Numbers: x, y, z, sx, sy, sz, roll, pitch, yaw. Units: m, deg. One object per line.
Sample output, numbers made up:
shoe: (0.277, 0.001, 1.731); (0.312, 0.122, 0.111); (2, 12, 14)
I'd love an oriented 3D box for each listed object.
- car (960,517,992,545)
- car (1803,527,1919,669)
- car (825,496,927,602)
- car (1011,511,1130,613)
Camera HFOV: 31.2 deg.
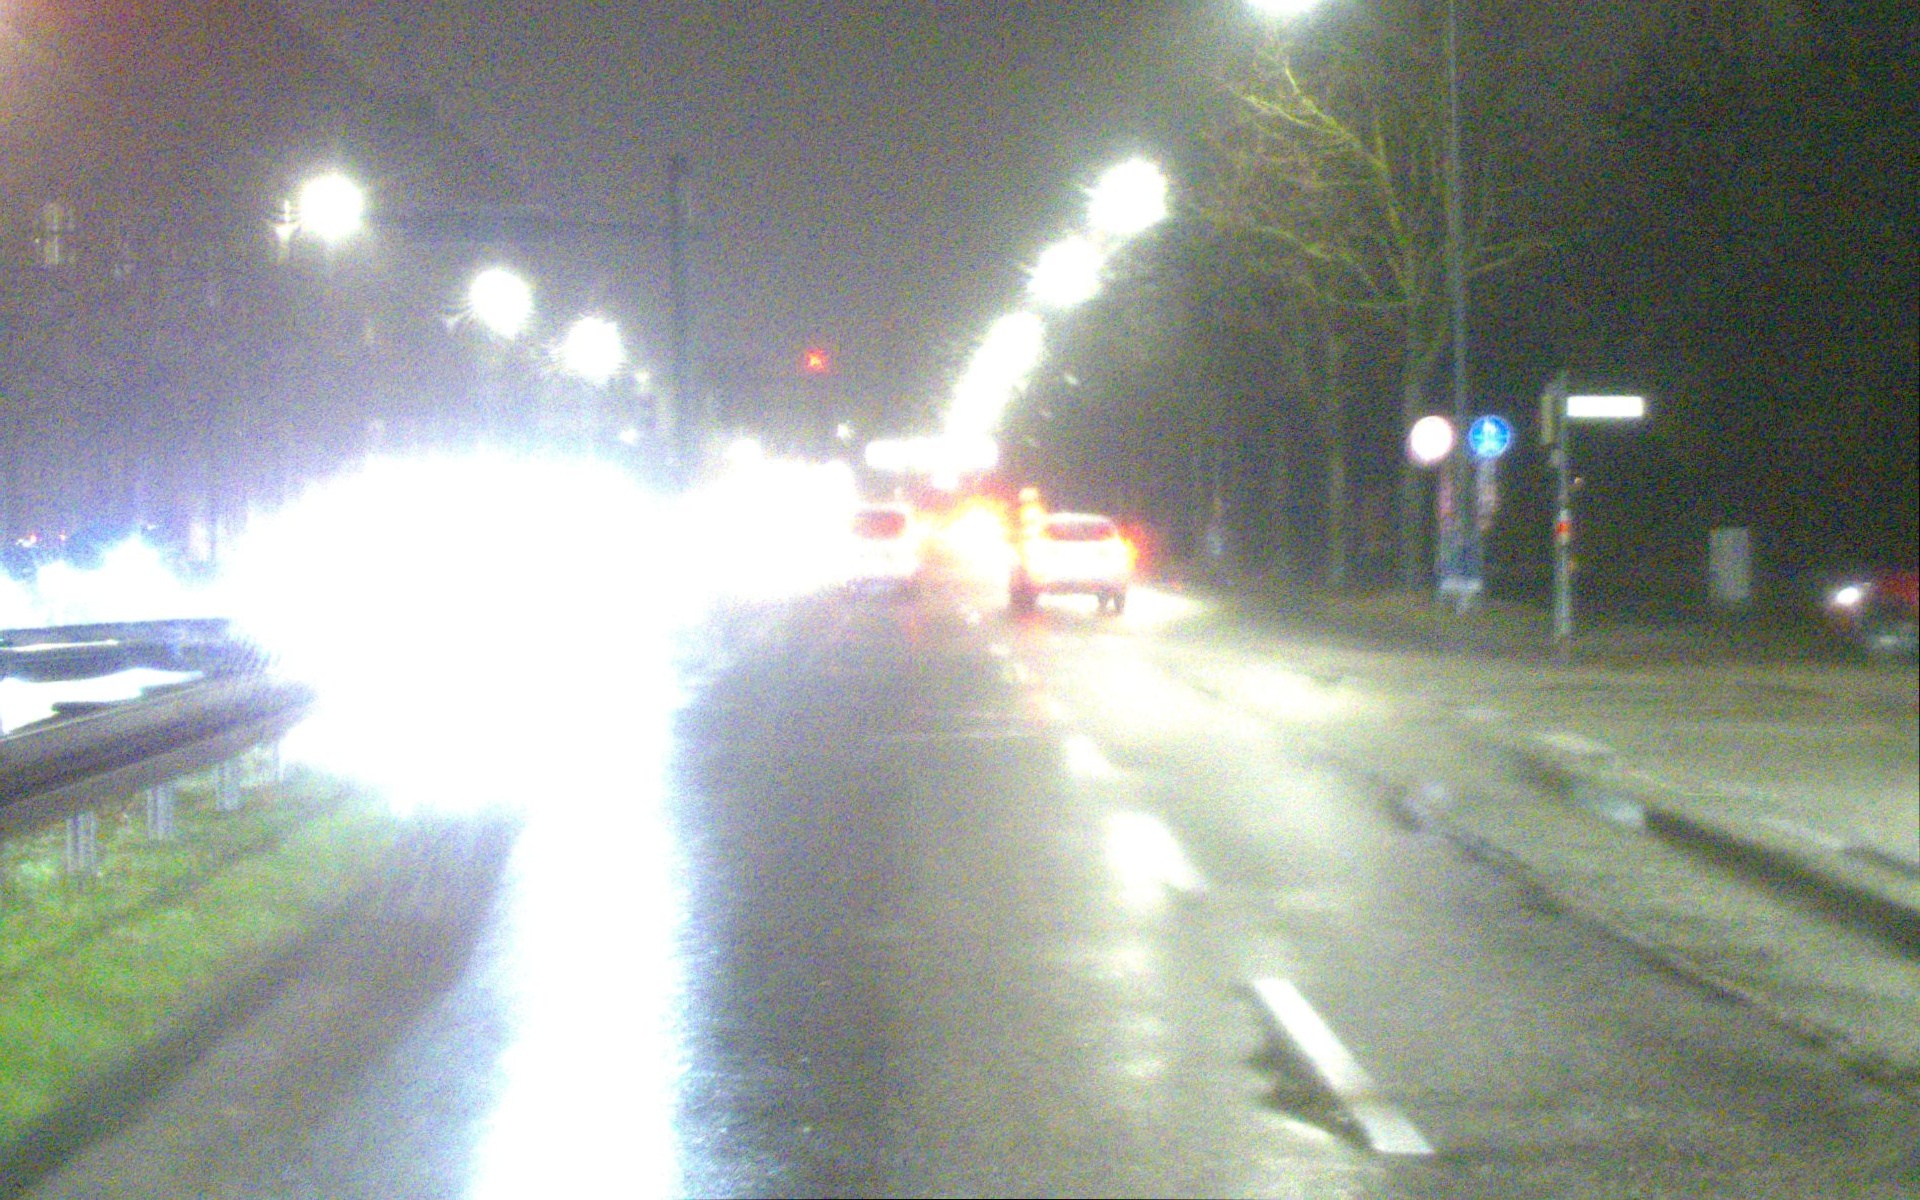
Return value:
car: (1.024, -4.424, 220.761); (1.993, 1.753, 4.000); (1, 1, -1)
car: (11.254, -0.001, 36.667); (4.145, 1.482, 1.794); (1, 1, 24)
car: (-1.557, -0.943, 64.036); (1.791, 1.868, 4.627); (1, 1, -1)
car: (1.866, -0.655, 59.400); (1.791, 1.673, 4.429); (1, 1, -1)
